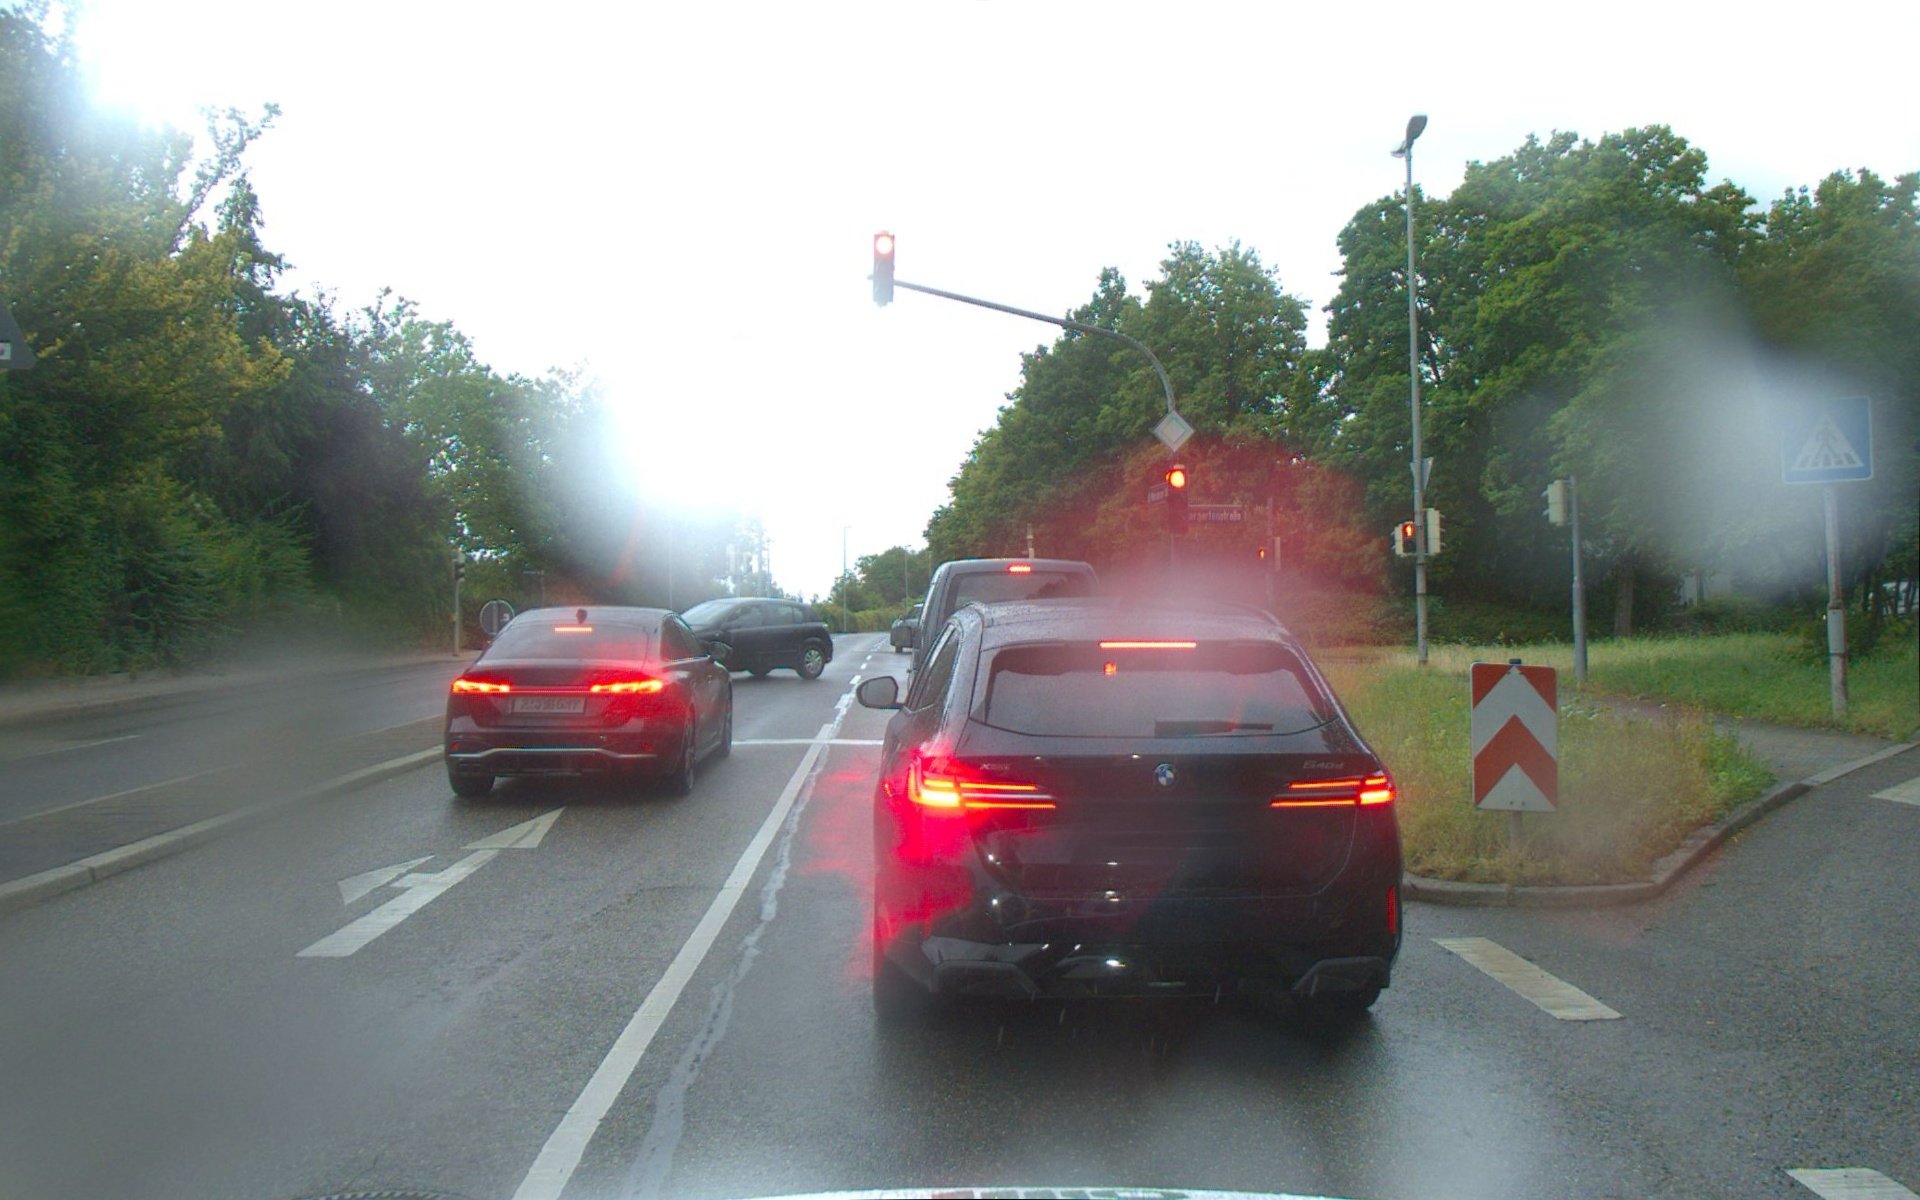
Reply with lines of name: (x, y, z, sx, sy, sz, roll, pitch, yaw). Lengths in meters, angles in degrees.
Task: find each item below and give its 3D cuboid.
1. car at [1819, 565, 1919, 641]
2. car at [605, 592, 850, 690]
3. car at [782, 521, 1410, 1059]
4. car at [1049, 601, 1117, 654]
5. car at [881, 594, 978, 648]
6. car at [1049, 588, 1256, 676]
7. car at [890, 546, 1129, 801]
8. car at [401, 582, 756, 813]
car: (23.519, 0.020, 40.009, 4.617, 1.747, 1.995, -2, 0, -10)
car: (-4.108, 0.699, 29.523, 3.967, 1.535, 1.872, -2, 0, -42)
car: (0.509, 0.596, 7.228, 1.858, 1.578, 4.616, 0, -1, 3)
car: (3.932, 0.856, 53.466, 1.835, 1.569, 3.952, -2, 0, 0)
car: (-0.940, 0.624, 48.498, 1.674, 1.452, 3.489, -2, 0, -22)
car: (4.059, 0.651, 34.986, 3.957, 1.630, 1.739, -2, 0, -19)
car: (0.363, 0.565, 14.346, 1.781, 1.901, 3.952, 0, 0, 0)
car: (-2.981, 0.707, 13.939, 1.953, 1.554, 4.327, -2, 0, 0)
